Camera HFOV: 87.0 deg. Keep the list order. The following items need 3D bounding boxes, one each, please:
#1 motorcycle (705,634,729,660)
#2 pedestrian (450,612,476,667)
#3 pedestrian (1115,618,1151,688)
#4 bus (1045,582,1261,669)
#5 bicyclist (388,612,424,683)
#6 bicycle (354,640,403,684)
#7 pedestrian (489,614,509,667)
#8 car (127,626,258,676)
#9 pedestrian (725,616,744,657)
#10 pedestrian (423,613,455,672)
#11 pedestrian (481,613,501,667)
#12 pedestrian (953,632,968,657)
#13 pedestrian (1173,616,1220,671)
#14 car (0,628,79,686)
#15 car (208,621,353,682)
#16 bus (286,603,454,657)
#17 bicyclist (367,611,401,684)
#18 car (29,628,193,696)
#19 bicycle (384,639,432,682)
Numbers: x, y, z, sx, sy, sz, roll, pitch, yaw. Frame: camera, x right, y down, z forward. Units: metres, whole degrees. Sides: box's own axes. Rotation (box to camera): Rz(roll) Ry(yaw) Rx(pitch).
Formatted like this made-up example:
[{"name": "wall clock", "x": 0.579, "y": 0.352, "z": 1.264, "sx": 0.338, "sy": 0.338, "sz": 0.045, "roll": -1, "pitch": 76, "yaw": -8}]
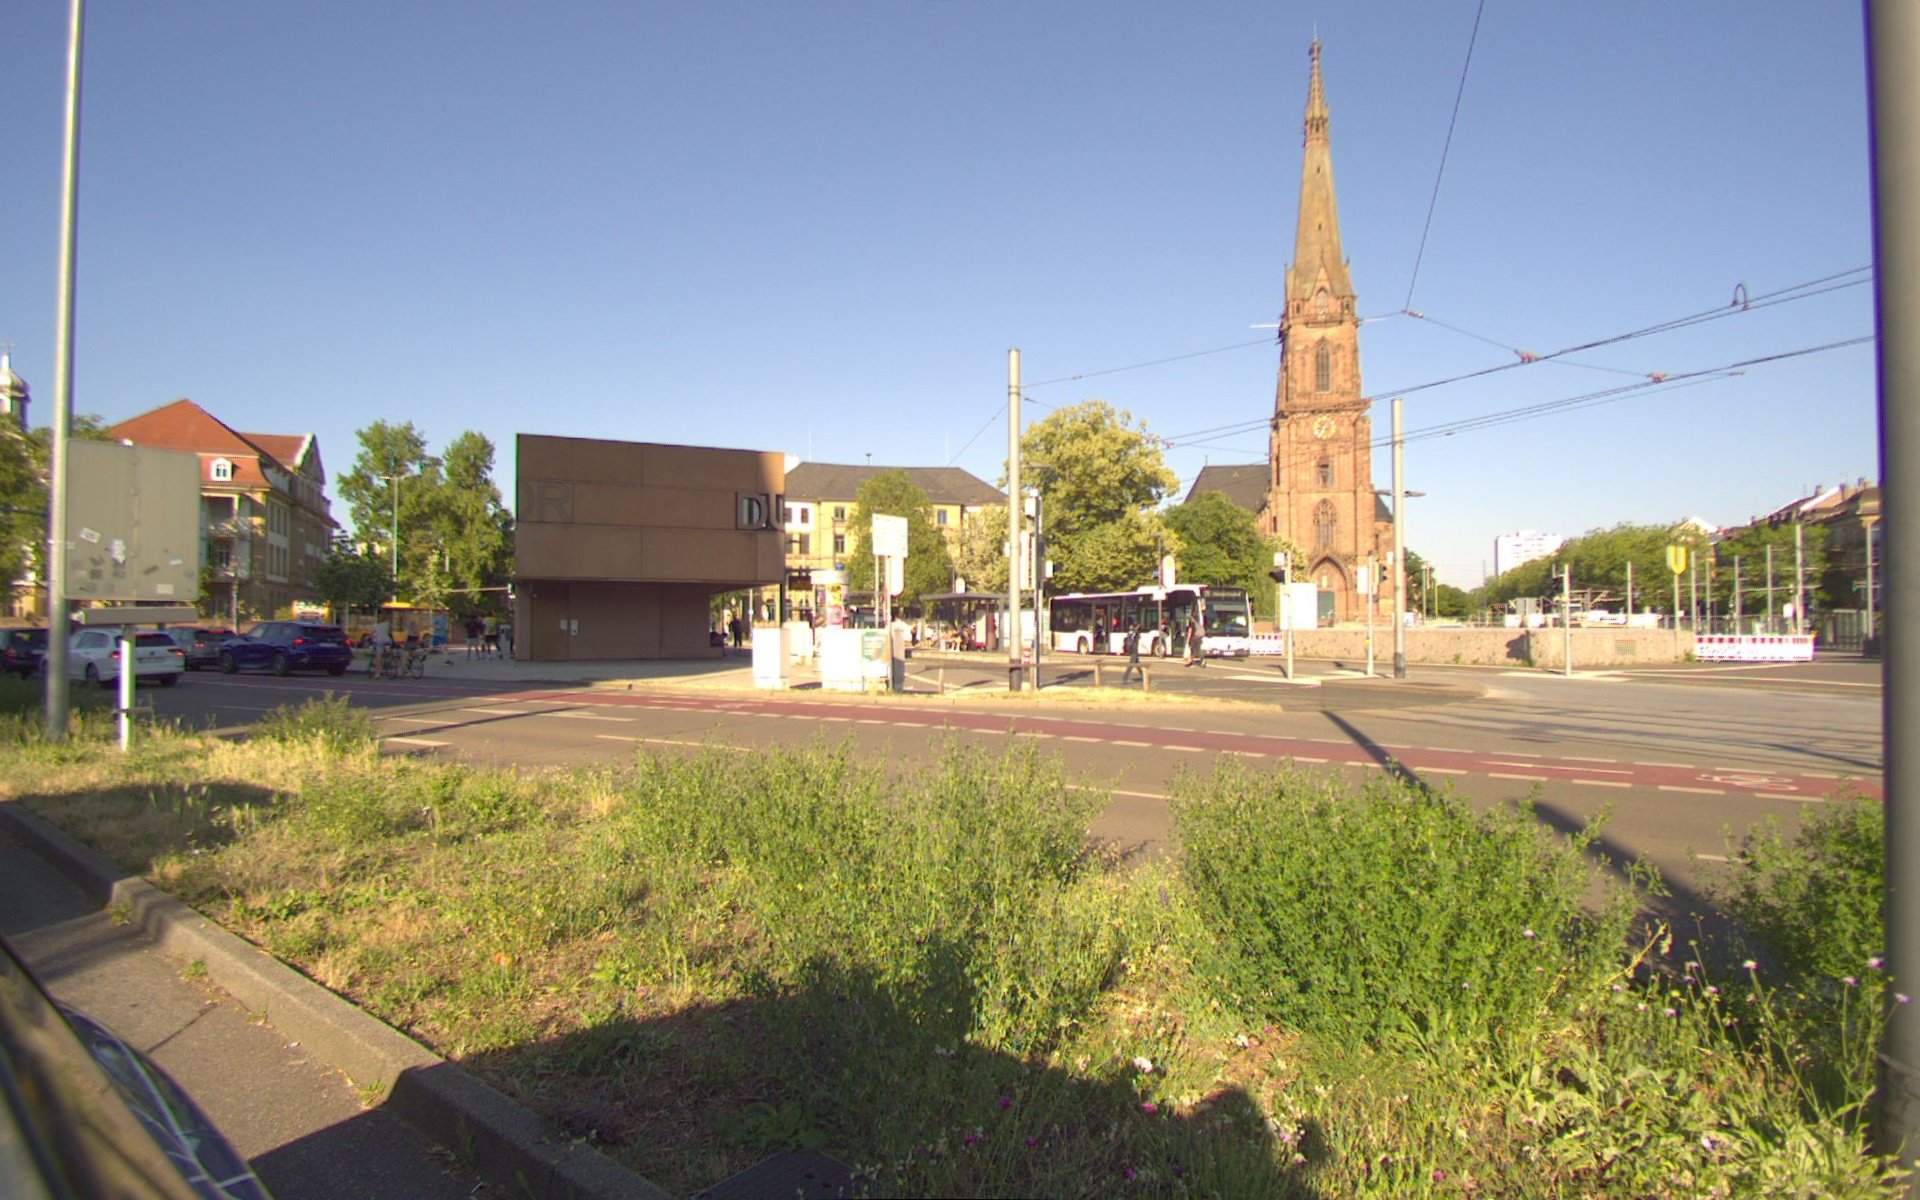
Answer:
[{"name": "motorcycle", "x": -10.108, "y": 1.955, "z": 42.062, "sx": 0.935, "sy": 1.075, "sz": 0.331, "roll": -1, "pitch": 0, "yaw": -11}, {"name": "pedestrian", "x": -18.856, "y": 1.486, "z": 38.397, "sx": 0.765, "sy": 2.029, "sz": 0.775, "roll": -1, "pitch": 0, "yaw": -37}, {"name": "pedestrian", "x": 4.527, "y": 1.370, "z": 26.501, "sx": 0.702, "sy": 1.771, "sz": 0.584, "roll": -1, "pitch": 0, "yaw": -30}, {"name": "bus", "x": 7.743, "y": 0.965, "z": 43.351, "sx": 2.655, "sy": 3.174, "sz": 12.216, "roll": -1, "pitch": 0, "yaw": -23}, {"name": "bicyclist", "x": -15.970, "y": 1.368, "z": 29.189, "sx": 0.705, "sy": 2.029, "sz": 0.605, "roll": -1, "pitch": -2, "yaw": 25}, {"name": "bicycle", "x": -16.421, "y": 1.743, "z": 28.580, "sx": 1.388, "sy": 1.201, "sz": 0.461, "roll": -1, "pitch": 0, "yaw": 24}, {"name": "pedestrian", "x": -18.085, "y": 1.578, "z": 39.678, "sx": 0.645, "sy": 2.029, "sz": 0.470, "roll": -1, "pitch": 0, "yaw": -29}, {"name": "car", "x": -25.143, "y": 1.652, "z": 33.123, "sx": 4.375, "sy": 1.503, "sz": 1.831, "roll": -1, "pitch": -4, "yaw": 30}, {"name": "pedestrian", "x": -11.150, "y": 1.798, "z": 50.132, "sx": 0.762, "sy": 2.029, "sz": 0.778, "roll": -1, "pitch": 0, "yaw": -2}, {"name": "pedestrian", "x": -17.119, "y": 1.384, "z": 33.264, "sx": 0.787, "sy": 1.911, "sz": 0.612, "roll": 0, "pitch": -2, "yaw": -9}, {"name": "pedestrian", "x": -17.876, "y": 1.497, "z": 38.549, "sx": 0.645, "sy": 2.029, "sz": 0.470, "roll": -1, "pitch": 0, "yaw": -29}, {"name": "pedestrian", "x": 0.028, "y": 2.191, "z": 49.979, "sx": 0.531, "sy": 1.196, "sz": 0.660, "roll": -1, "pitch": 0, "yaw": -21}, {"name": "pedestrian", "x": 7.500, "y": 1.361, "z": 32.122, "sx": 1.025, "sy": 1.696, "sz": 1.007, "roll": -1, "pitch": 0, "yaw": -25}, {"name": "car", "x": -26.892, "y": 1.560, "z": 28.585, "sx": 4.171, "sy": 1.471, "sz": 1.739, "roll": -1, "pitch": 0, "yaw": 29}, {"name": "car", "x": -20.185, "y": 1.478, "z": 30.042, "sx": 4.166, "sy": 1.703, "sz": 1.741, "roll": -1, "pitch": -1, "yaw": 26}, {"name": "bus", "x": -39.627, "y": 1.877, "z": 68.801, "sx": 3.049, "sy": 3.236, "sz": 12.522, "roll": -1, "pitch": 0, "yaw": 6}, {"name": "bicyclist", "x": -16.240, "y": 1.323, "z": 28.522, "sx": 0.562, "sy": 2.029, "sz": 0.605, "roll": -1, "pitch": -2, "yaw": 25}, {"name": "car", "x": -21.500, "y": 1.504, "z": 25.589, "sx": 4.375, "sy": 1.503, "sz": 1.831, "roll": -1, "pitch": 0, "yaw": 30}, {"name": "bicycle", "x": -15.924, "y": 1.736, "z": 29.177, "sx": 1.388, "sy": 1.201, "sz": 0.461, "roll": -1, "pitch": 0, "yaw": 24}]
